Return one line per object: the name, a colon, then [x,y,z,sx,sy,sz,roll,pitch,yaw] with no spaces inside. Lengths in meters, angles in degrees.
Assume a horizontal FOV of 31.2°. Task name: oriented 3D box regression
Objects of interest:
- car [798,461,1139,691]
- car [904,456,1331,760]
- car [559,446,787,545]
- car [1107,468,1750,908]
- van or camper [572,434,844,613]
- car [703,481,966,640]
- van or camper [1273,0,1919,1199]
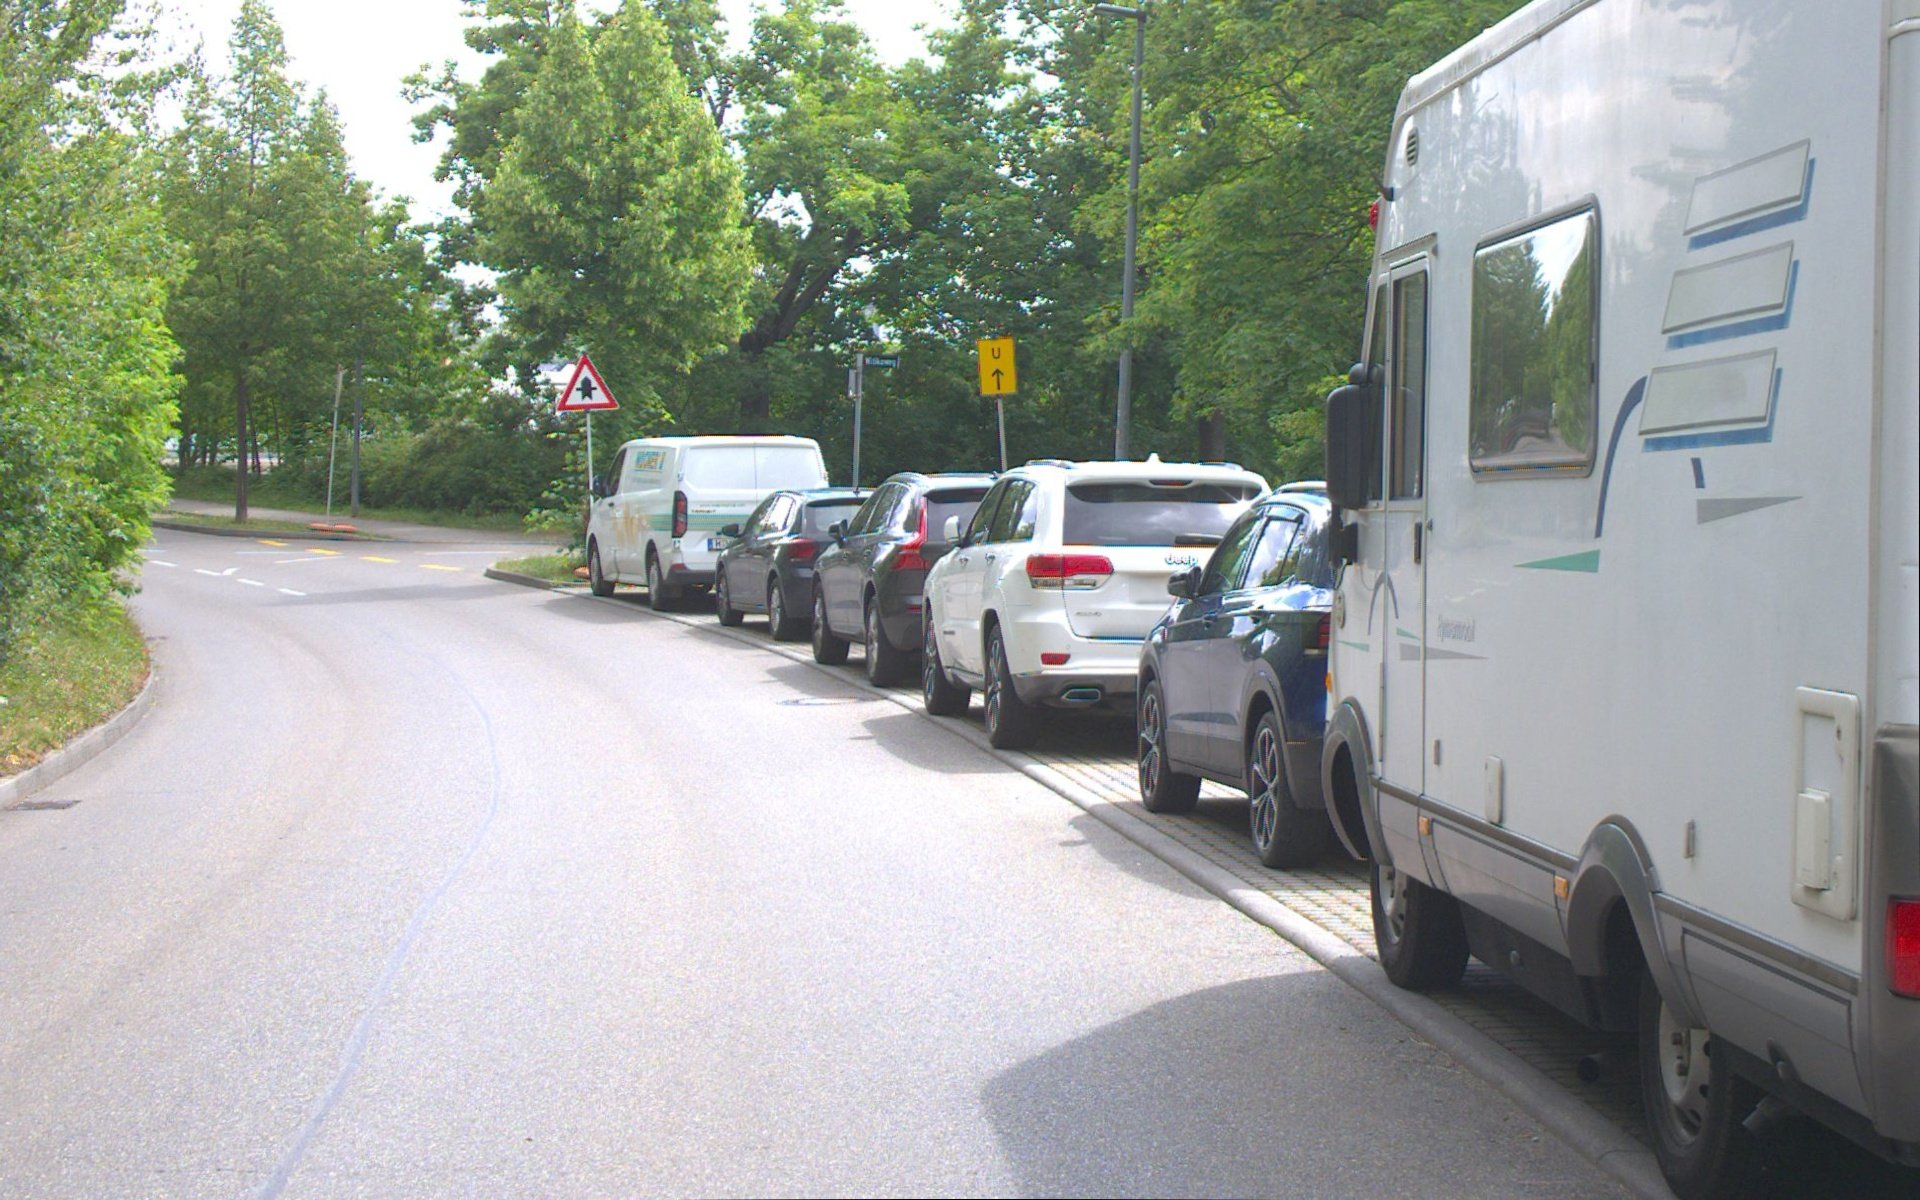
car: [-0.025,-0.272,27.818,1.993,1.620,4.280,-2,3,-10]
car: [0.867,-0.044,21.860,1.871,1.683,4.581,2,2,-8]
car: [-4.855,-1.764,57.930,3.535,1.475,1.783,2,4,-14]
car: [1.884,0.285,15.117,1.710,1.586,4.001,4,1,-8]
van or camper: [-3.020,-0.964,40.051,1.993,1.913,5.268,-1,3,-18]
car: [-1.319,-0.432,34.234,1.797,1.459,4.002,0,2,-14]
van or camper: [2.422,-0.211,8.526,2.332,2.859,6.151,2,2,-3]
